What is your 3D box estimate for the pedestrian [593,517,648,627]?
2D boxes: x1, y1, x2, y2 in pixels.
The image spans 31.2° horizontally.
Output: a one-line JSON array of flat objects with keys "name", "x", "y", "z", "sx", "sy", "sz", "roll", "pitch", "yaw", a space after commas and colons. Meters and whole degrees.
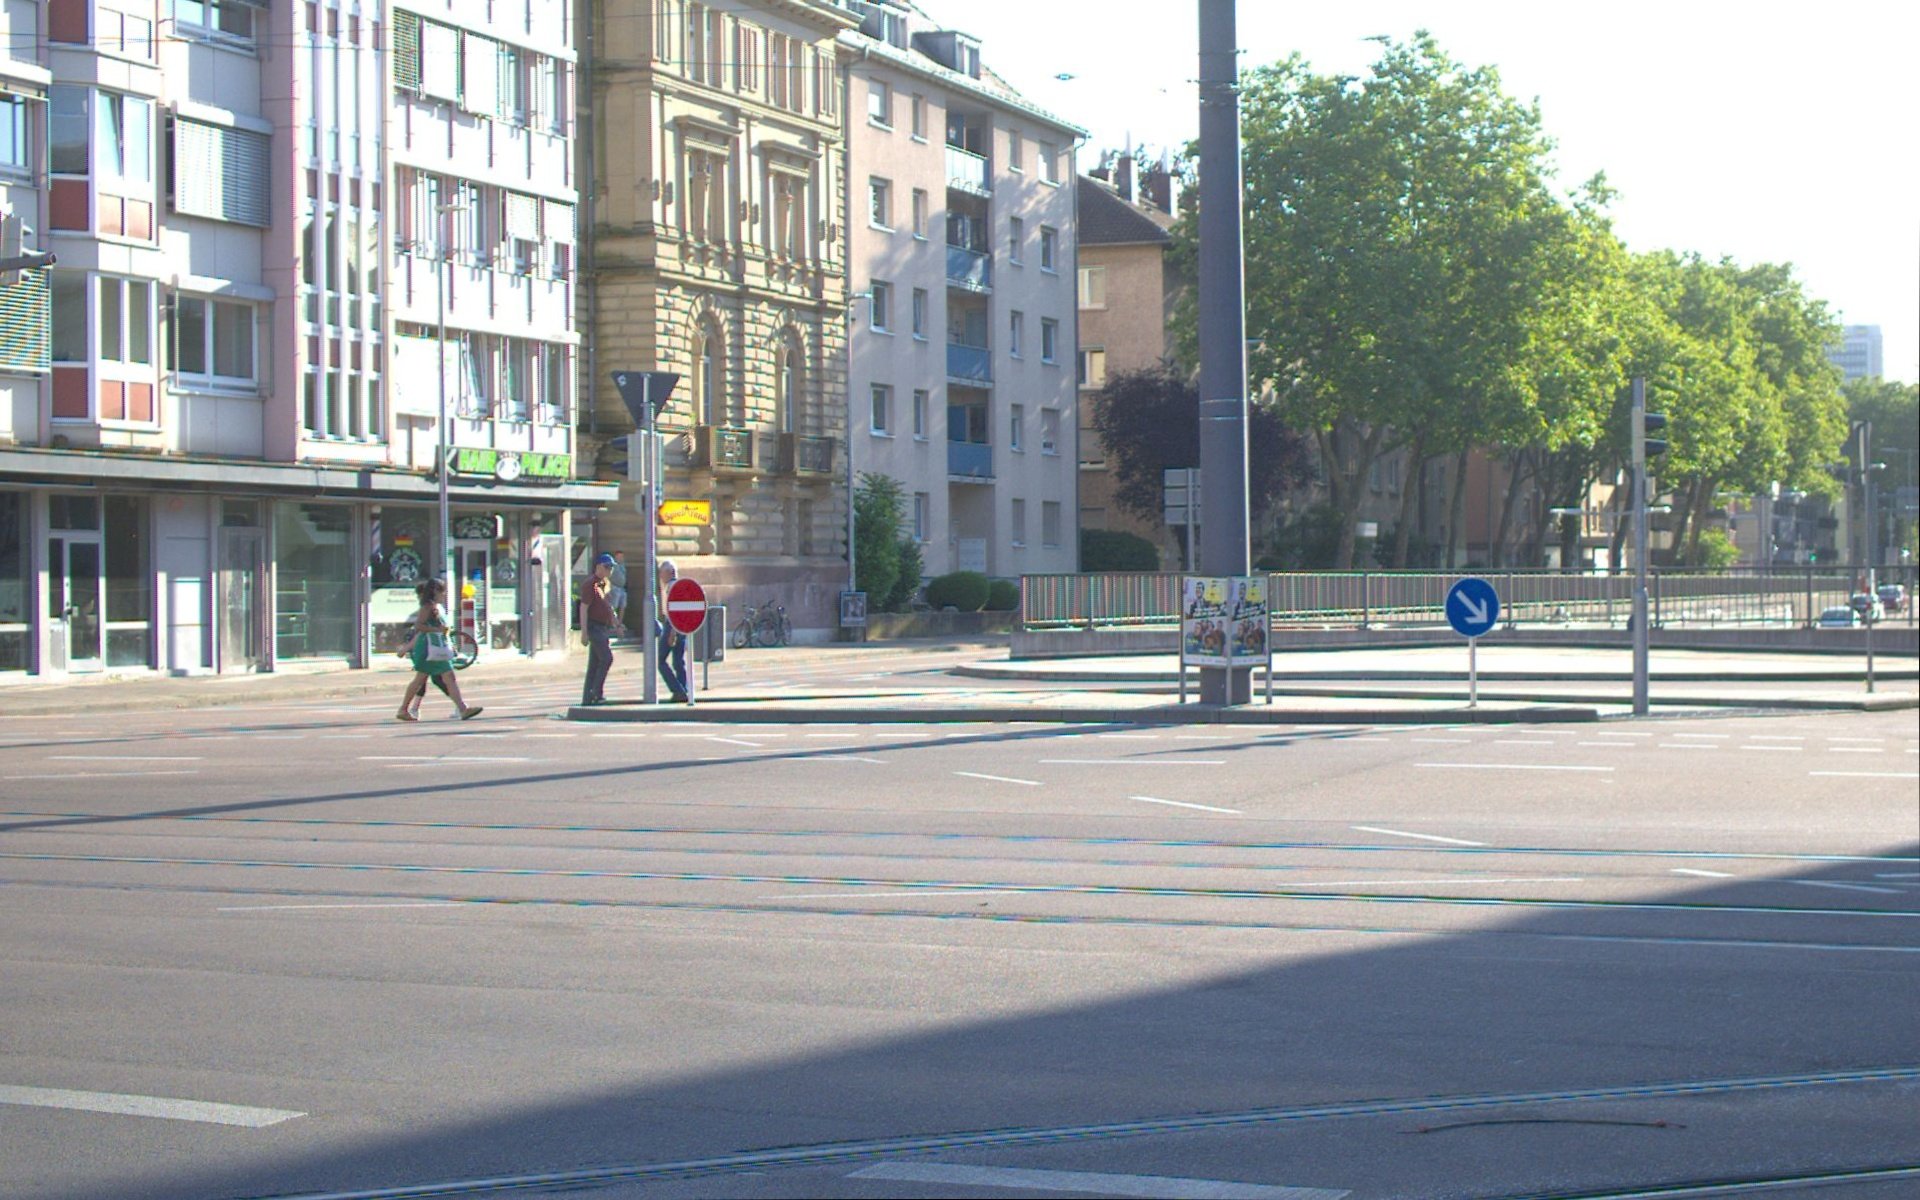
[{"name": "pedestrian", "x": -7.531, "y": -0.621, "z": 76.295, "sx": 0.927, "sy": 2.390, "sz": 0.960, "roll": 1, "pitch": 0, "yaw": 9}]

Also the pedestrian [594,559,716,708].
[{"name": "pedestrian", "x": -3.639, "y": 0.392, "z": 41.041, "sx": 1.195, "sy": 1.725, "sz": 0.856, "roll": 1, "pitch": 0, "yaw": 15}]

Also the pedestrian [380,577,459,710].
[{"name": "pedestrian", "x": -6.160, "y": 0.502, "z": 39.179, "sx": 0.853, "sy": 1.460, "sz": 0.686, "roll": 1, "pitch": -5, "yaw": -9}]

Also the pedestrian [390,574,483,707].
[{"name": "pedestrian", "x": -5.826, "y": 0.441, "z": 38.307, "sx": 0.705, "sy": 1.448, "sz": 0.856, "roll": 1, "pitch": 0, "yaw": 15}]

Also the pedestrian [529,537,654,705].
[{"name": "pedestrian", "x": -4.268, "y": 0.232, "z": 39.853, "sx": 1.195, "sy": 1.877, "sz": 0.856, "roll": 1, "pitch": 2, "yaw": 15}]

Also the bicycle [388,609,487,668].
[{"name": "bicycle", "x": -9.751, "y": 0.713, "z": 64.247, "sx": 0.452, "sy": 1.067, "sz": 2.087, "roll": 2, "pitch": 1, "yaw": 36}]
